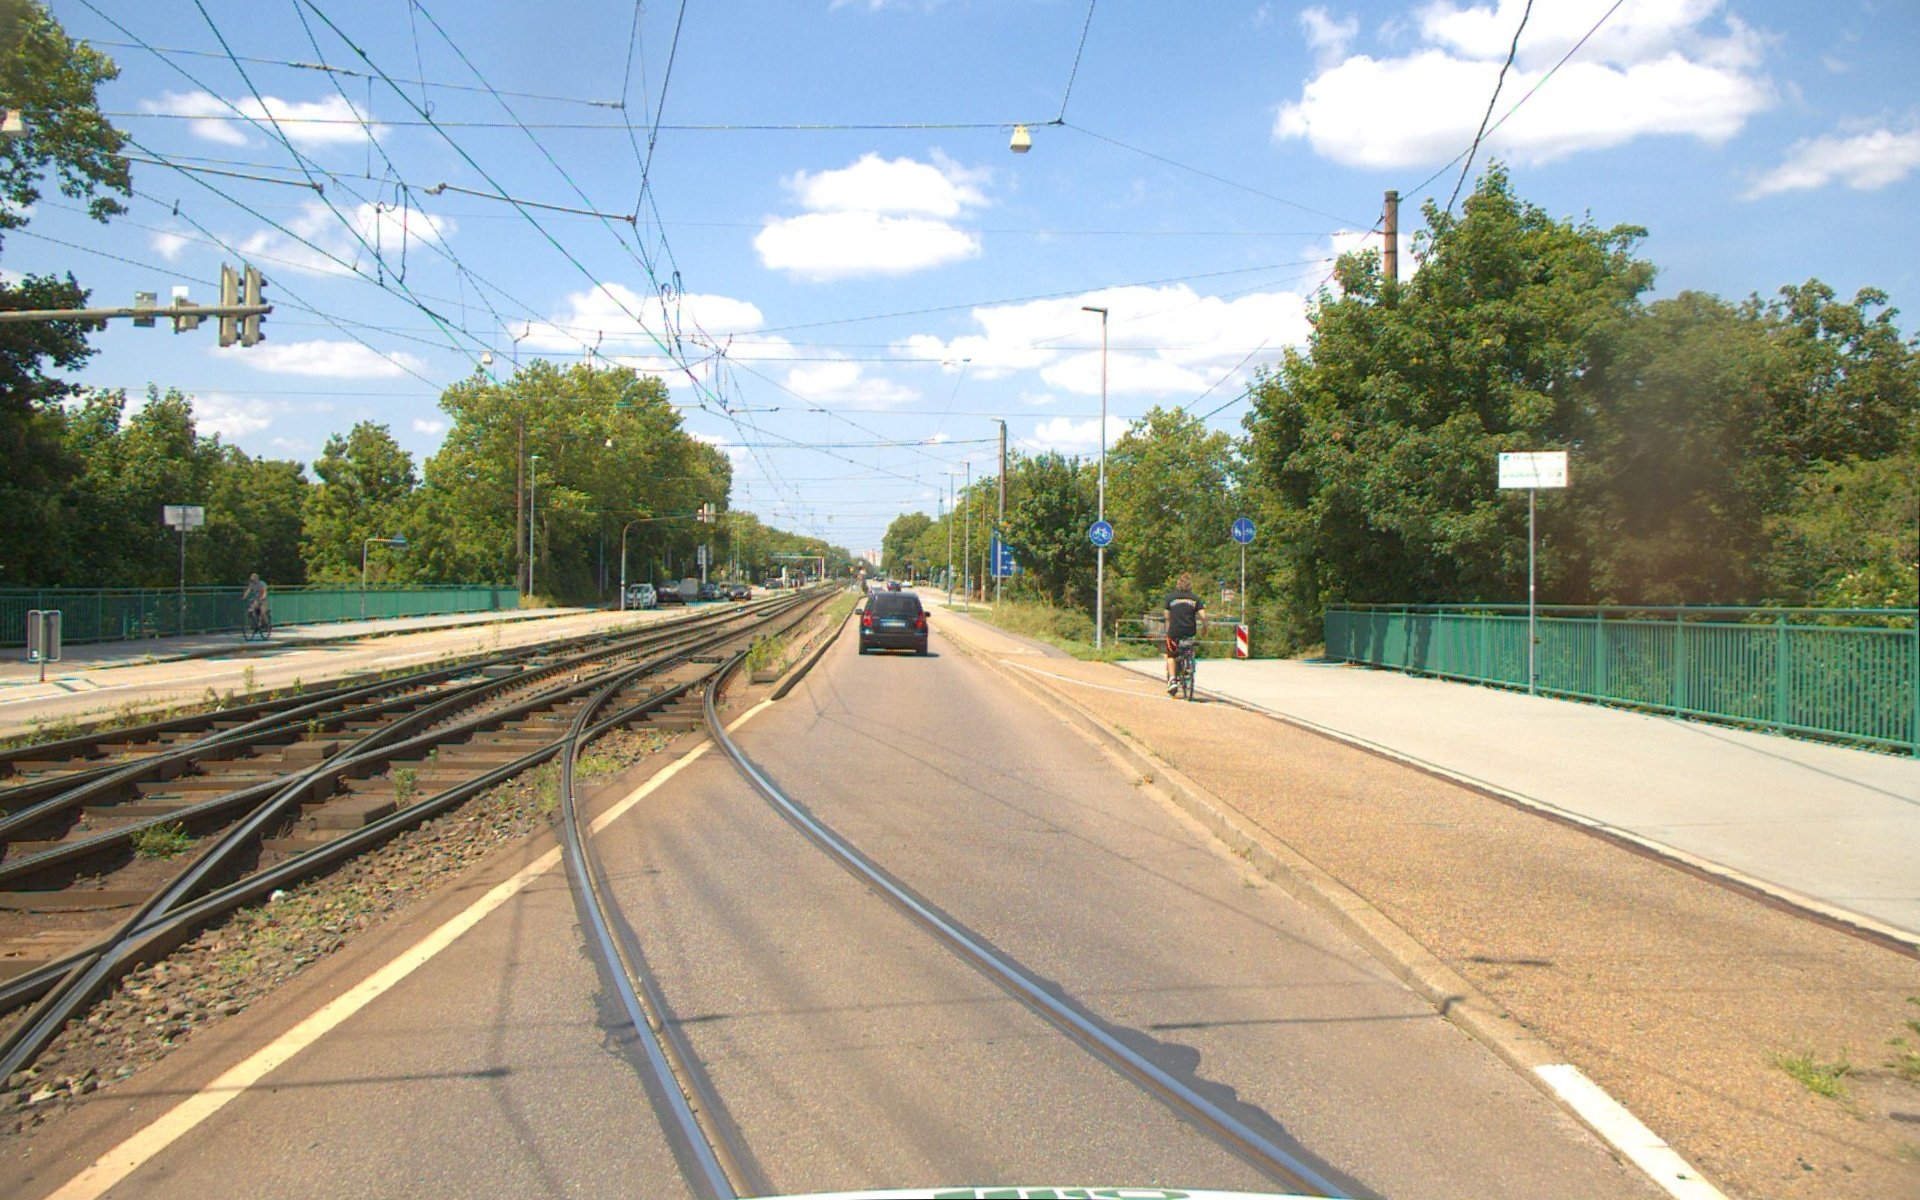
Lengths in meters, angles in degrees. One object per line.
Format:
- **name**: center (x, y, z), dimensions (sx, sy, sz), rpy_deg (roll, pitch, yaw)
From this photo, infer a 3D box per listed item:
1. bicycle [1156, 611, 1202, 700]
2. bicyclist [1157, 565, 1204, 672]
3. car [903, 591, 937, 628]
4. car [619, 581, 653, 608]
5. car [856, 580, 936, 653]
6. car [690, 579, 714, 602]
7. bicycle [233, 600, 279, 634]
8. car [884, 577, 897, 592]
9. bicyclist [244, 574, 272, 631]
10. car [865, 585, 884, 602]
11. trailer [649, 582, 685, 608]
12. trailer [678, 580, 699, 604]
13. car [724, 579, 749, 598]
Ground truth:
- **bicycle**: center (3.209, 0.793, 24.348), dimensions (0.423, 1.172, 1.855), rpy_deg (2, 1, 2)
- **bicyclist**: center (3.239, 0.263, 24.332), dimensions (0.573, 1.521, 0.558), rpy_deg (2, 1, 1)
- **car**: center (-2.436, 0.559, 101.753), dimensions (1.953, 2.048, 4.000), rpy_deg (2, 2, -1)
- **car**: center (-21.880, -0.404, 111.690), dimensions (1.686, 1.659, 4.613), rpy_deg (-2, 2, -4)
- **car**: center (-1.595, 0.384, 42.727), dimensions (1.815, 1.597, 4.389), rpy_deg (2, 2, 0)
- **car**: center (-25.321, -0.934, 162.503), dimensions (1.817, 2.048, 3.999), rpy_deg (2, 2, -3)
- **bicycle**: center (-18.810, 0.449, 44.217), dimensions (0.459, 0.883, 1.742), rpy_deg (1, 0, -1)
- **car**: center (-10.092, -2.272, 238.405), dimensions (1.751, 2.048, 3.998), rpy_deg (2, 2, -3)
- **bicyclist**: center (-18.800, 0.075, 44.302), dimensions (0.447, 1.500, 0.633), rpy_deg (1, 0, -1)
- **car**: center (-9.226, -0.716, 178.223), dimensions (1.847, 1.668, 3.999), rpy_deg (5, 1, -2)
- **trailer**: center (-22.514, -0.419, 127.360), dimensions (2.415, 1.921, 5.952), rpy_deg (2, 0, -8)
- **trailer**: center (-24.257, -0.721, 147.724), dimensions (1.579, 2.048, 3.911), rpy_deg (2, 1, -6)
- **car**: center (-20.675, -1.061, 153.118), dimensions (1.838, 1.750, 5.326), rpy_deg (2, 0, -4)
